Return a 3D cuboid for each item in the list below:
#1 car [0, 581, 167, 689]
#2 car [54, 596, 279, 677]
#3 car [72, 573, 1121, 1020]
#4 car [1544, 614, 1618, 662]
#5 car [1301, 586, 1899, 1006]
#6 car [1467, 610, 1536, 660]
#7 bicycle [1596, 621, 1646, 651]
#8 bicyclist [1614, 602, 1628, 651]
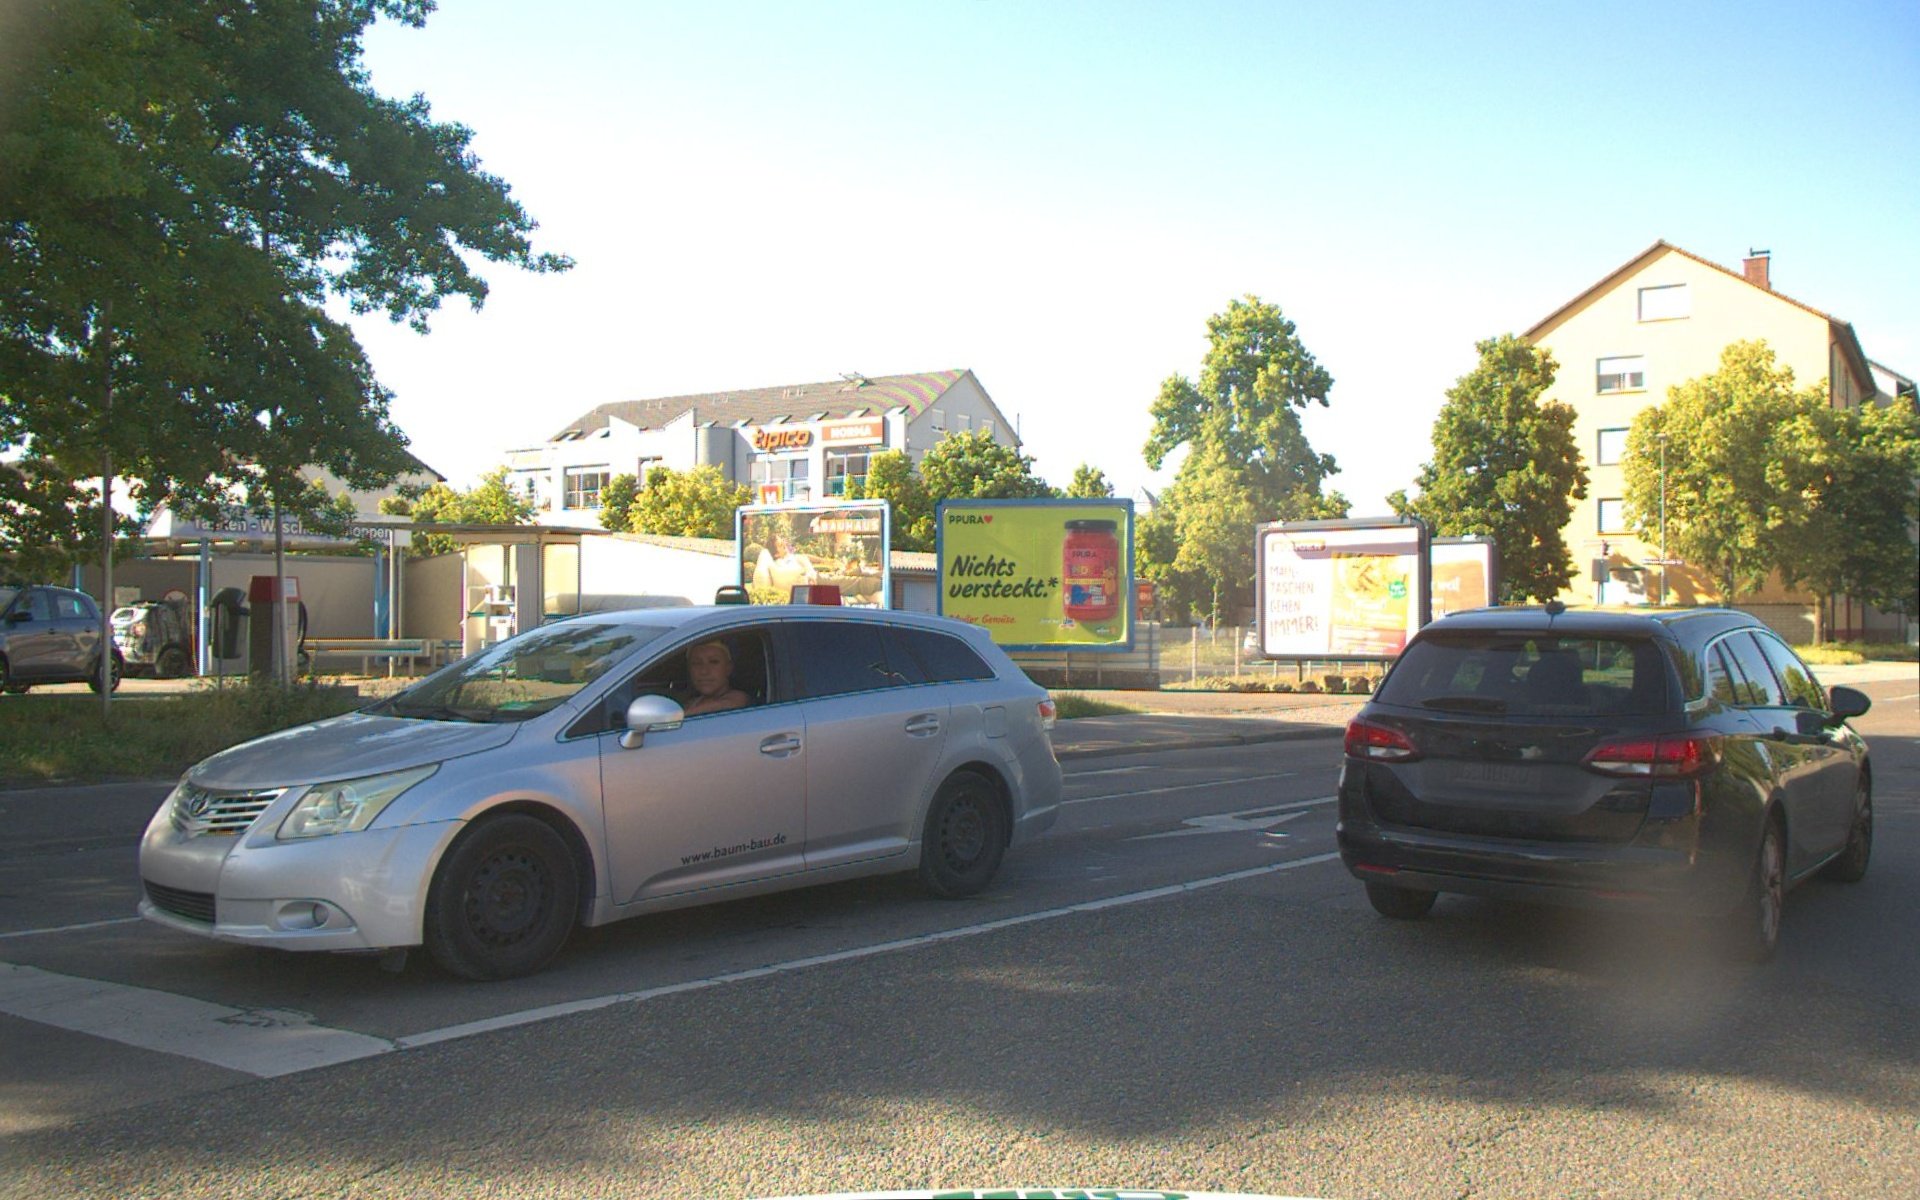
[{"bbox_3d":[-13.176,0.528,23.265,1.717,1.400,4.002,0,-3,7],"label":"car"},{"bbox_3d":[-17.204,0.844,36.036,1.956,1.635,3.992,-1,-3,29],"label":"car"},{"bbox_3d":[-1.398,0.696,8.047,1.810,1.515,4.859,-2,-2,42],"label":"car"},{"bbox_3d":[20.684,1.258,55.035,1.696,1.489,3.874,-1,0,30],"label":"car"},{"bbox_3d":[3.410,0.738,8.246,1.732,1.517,4.273,0,-1,36],"label":"car"},{"bbox_3d":[18.716,1.191,57.110,1.665,1.650,3.877,-1,0,27],"label":"car"},{"bbox_3d":[23.228,1.268,58.131,1.582,1.029,0.406,0,-3,12],"label":"bicycle"},{"bbox_3d":[23.253,0.931,58.148,0.380,1.715,0.382,0,-3,11],"label":"bicyclist"}]
